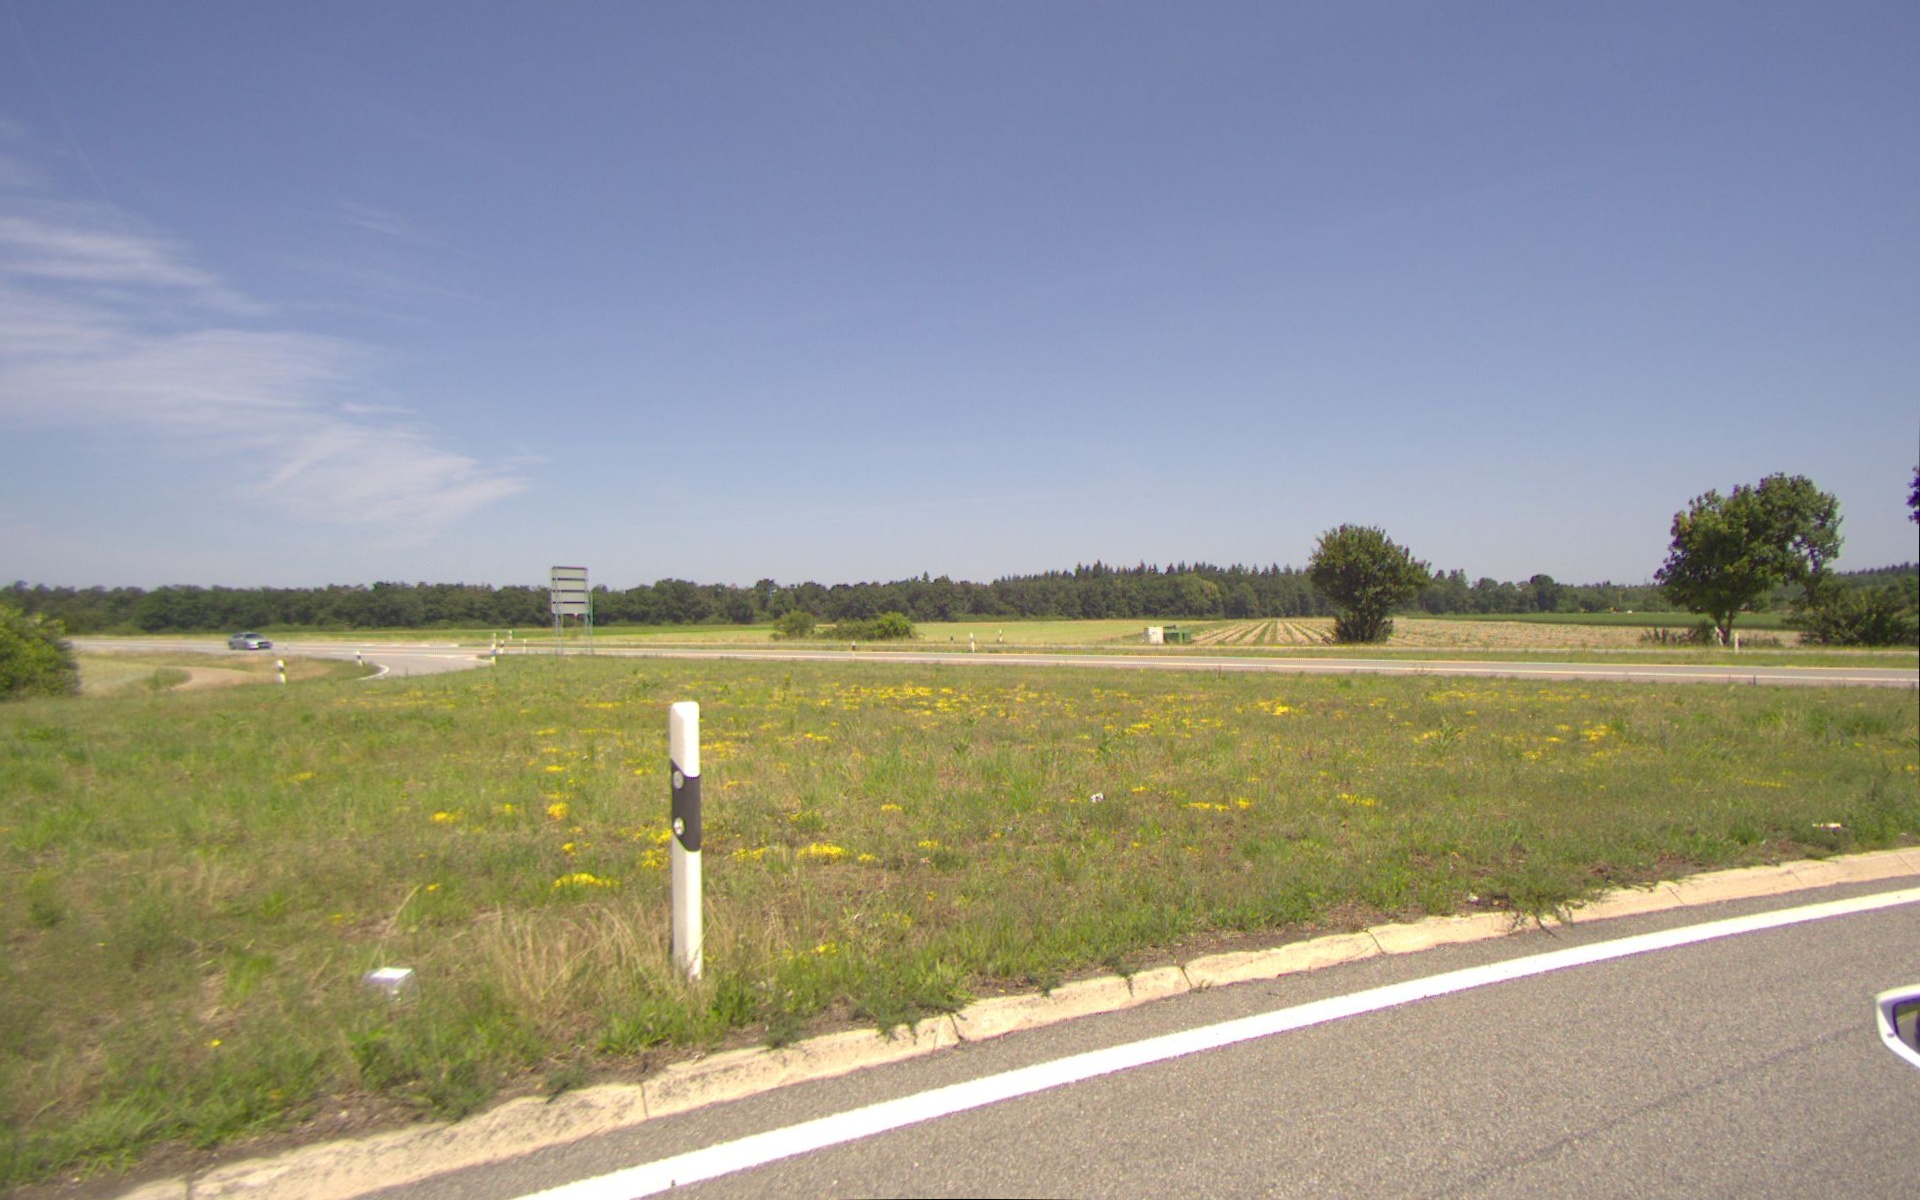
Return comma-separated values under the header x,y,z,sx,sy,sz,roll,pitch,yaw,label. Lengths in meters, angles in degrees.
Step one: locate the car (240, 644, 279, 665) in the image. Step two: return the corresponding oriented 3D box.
x,y,z,sx,sy,sz,roll,pitch,yaw,label
-61.078,4.715,87.609,3.369,1.728,1.723,-1,-1,34,car
